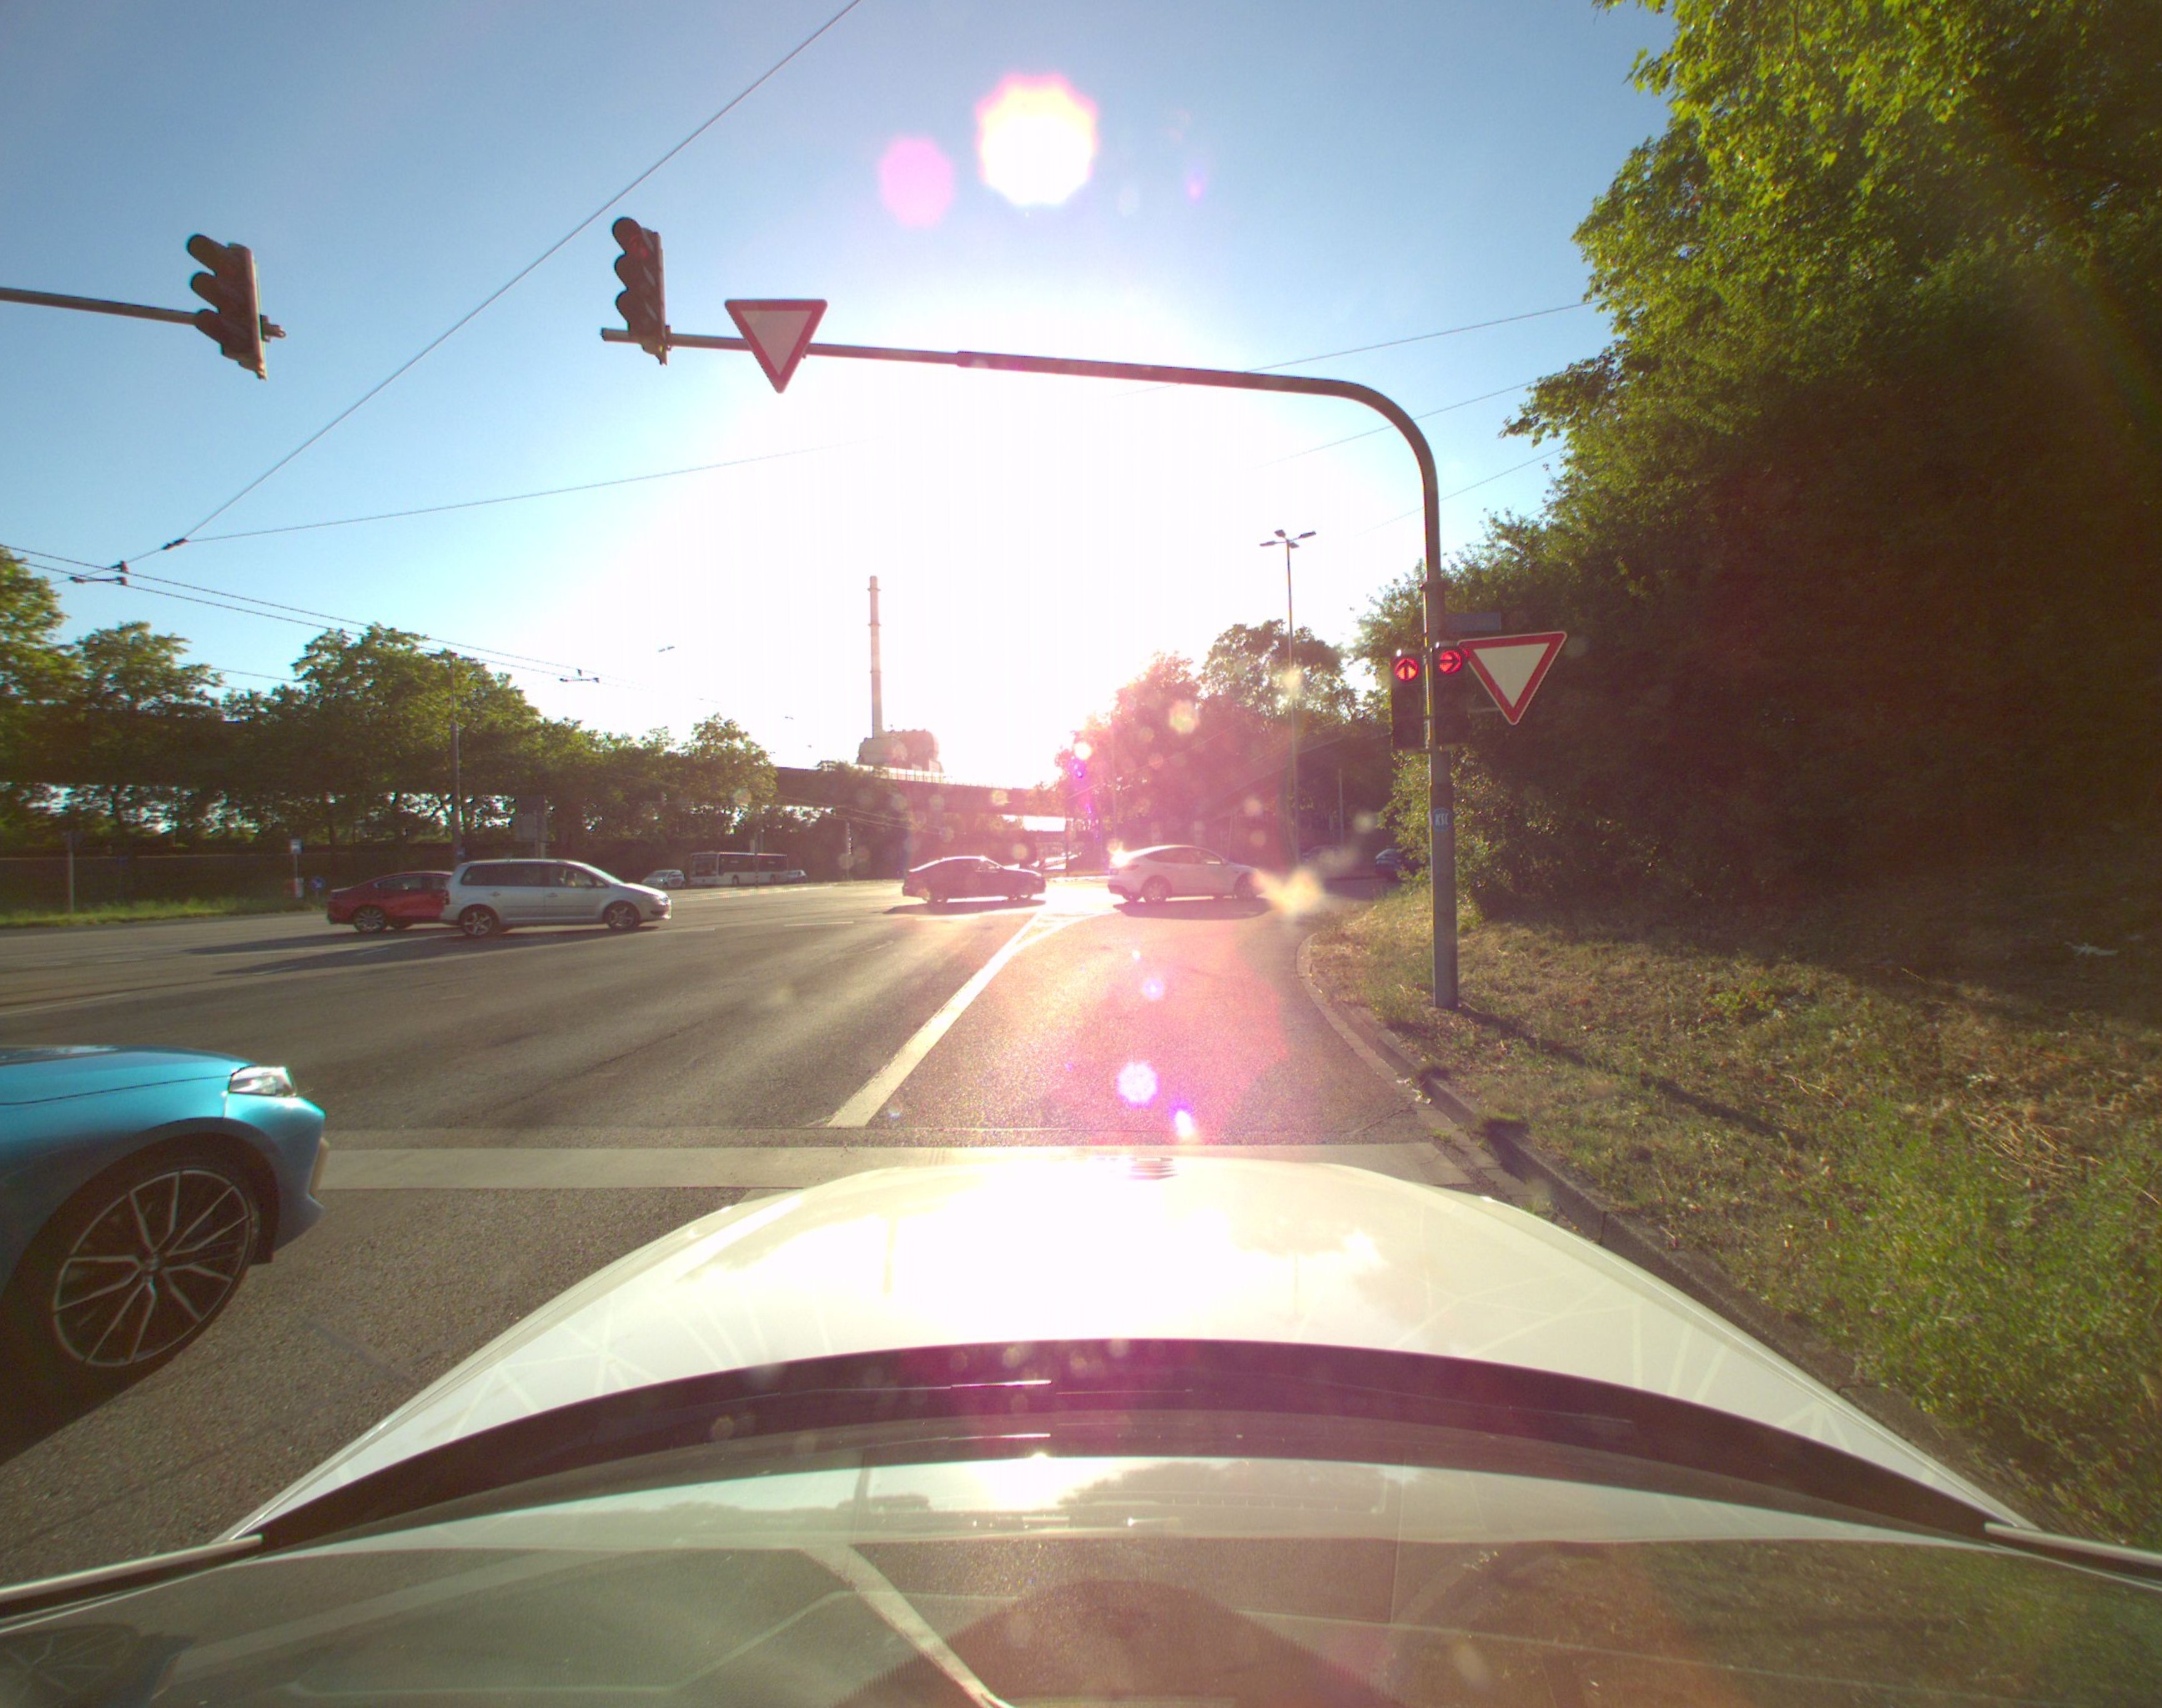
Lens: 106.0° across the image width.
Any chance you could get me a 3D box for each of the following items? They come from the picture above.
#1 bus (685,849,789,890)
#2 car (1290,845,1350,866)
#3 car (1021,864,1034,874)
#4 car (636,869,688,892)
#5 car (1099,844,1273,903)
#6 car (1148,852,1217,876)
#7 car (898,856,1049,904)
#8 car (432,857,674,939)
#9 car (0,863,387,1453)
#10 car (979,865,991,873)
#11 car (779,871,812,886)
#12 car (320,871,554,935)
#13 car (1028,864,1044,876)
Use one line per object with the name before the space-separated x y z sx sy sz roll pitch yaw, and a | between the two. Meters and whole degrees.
bus | -29.463 1.377 70.704 2.532 3.130 12.931 -2 -2 4
car | 17.869 0.116 60.916 4.005 1.512 1.684 -1 0 -17
car | -8.111 2.289 124.518 1.659 1.405 4.445 -1 0 0
car | -30.132 1.891 58.668 1.601 1.512 4.007 -1 0 0
car | 3.052 0.520 23.625 4.767 1.575 1.682 -1 0 -20
car | 7.121 0.667 57.205 4.585 1.575 1.685 -1 0 -16
car | -3.397 0.775 25.625 4.490 1.369 1.683 -1 0 -19
car | -11.718 0.922 18.418 4.288 1.631 1.682 -1 0 -20
car | -3.564 0.796 1.074 1.709 1.466 4.205 -2 0 -1
car | -19.521 3.057 165.400 1.600 1.419 4.012 -1 0 3
car | -28.565 2.452 81.592 1.600 1.419 4.012 -1 0 3
car | -15.914 1.165 20.398 4.288 1.364 1.612 -1 0 -21
car | -5.690 1.995 103.932 1.659 1.405 4.199 -1 0 2
